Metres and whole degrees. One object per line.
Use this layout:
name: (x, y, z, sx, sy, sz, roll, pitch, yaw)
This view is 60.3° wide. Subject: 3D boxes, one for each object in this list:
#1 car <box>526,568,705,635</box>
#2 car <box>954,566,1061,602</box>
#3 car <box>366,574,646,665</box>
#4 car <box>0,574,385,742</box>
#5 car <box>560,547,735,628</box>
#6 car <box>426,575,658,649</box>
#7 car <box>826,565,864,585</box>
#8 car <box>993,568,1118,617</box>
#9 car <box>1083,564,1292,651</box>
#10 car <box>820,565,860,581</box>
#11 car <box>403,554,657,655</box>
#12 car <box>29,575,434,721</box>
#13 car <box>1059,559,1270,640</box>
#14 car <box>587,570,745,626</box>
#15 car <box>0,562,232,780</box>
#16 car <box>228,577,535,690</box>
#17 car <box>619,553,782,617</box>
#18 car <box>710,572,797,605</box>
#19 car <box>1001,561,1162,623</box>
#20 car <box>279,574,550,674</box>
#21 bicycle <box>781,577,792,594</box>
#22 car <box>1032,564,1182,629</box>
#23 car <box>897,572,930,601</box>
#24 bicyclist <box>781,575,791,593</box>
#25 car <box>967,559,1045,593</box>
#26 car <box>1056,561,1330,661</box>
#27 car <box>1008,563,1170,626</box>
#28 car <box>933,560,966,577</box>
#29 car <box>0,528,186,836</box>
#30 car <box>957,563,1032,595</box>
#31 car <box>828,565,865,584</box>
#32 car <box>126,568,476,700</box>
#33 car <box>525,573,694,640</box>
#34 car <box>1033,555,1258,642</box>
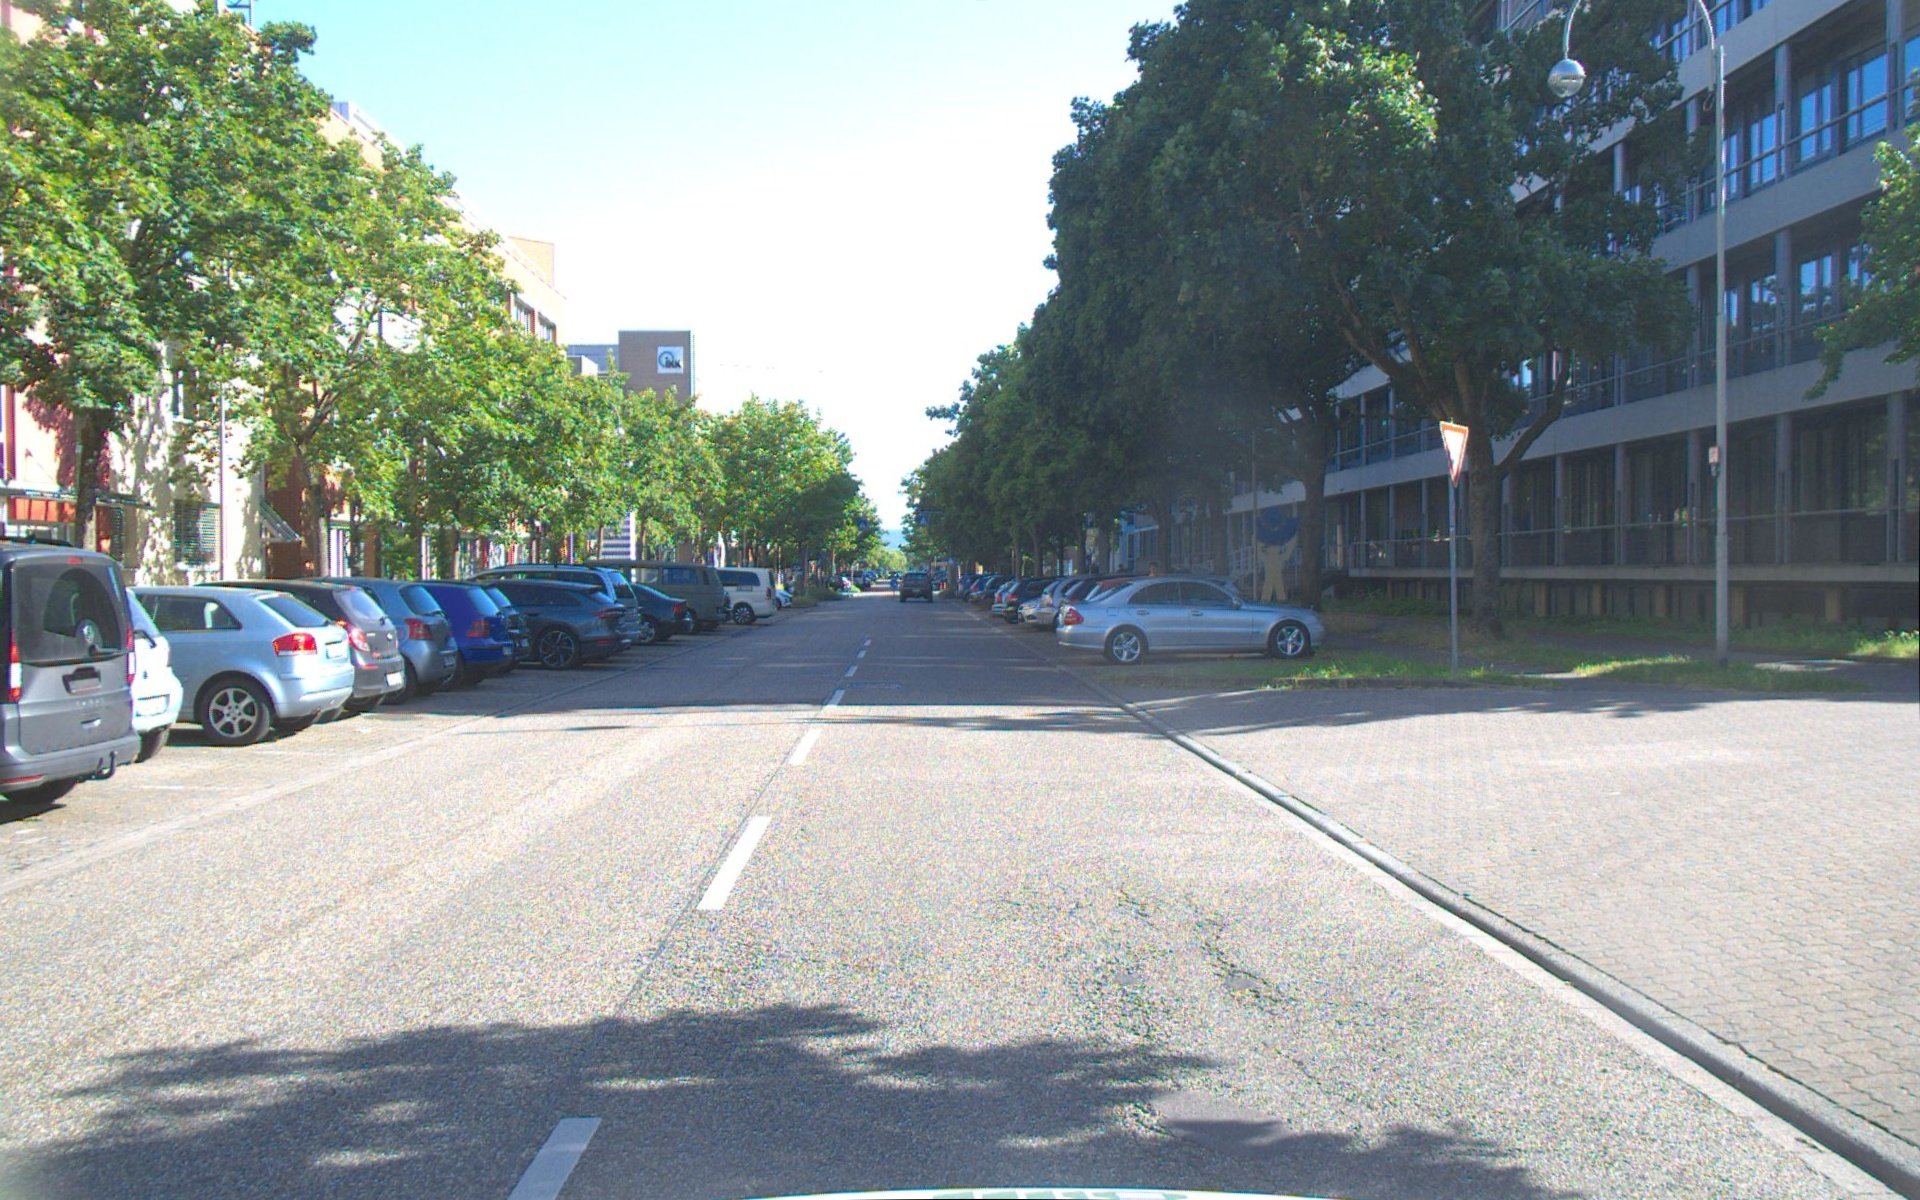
car: (-8.469, 0.015, 40.903, 4.049, 1.554, 1.725, 1, 1, -2)
car: (2.155, -0.734, 76.013, 4.730, 1.444, 2.031, -2, 1, -4)
car: (-7.696, 0.314, 28.354, 4.315, 1.452, 1.771, 1, 1, -4)
car: (-7.667, 0.520, 15.901, 3.654, 1.472, 1.874, 1, 1, -6)
car: (-8.559, -0.357, 45.613, 4.396, 2.126, 2.083, 1, 1, 0)
car: (-8.332, 0.227, 33.261, 4.234, 1.382, 1.756, 1, 1, -3)
car: (-12.499, -2.700, 180.208, 3.904, 2.049, 2.001, -1, 1, 2)
car: (3.101, -0.256, 54.147, 3.891, 1.444, 1.709, -2, 1, -4)
car: (4.308, 0.124, 31.817, 3.758, 1.472, 1.922, -2, 1, 2)
car: (-11.519, -2.595, 158.649, 3.776, 1.498, 1.809, 1, 1, -8)
car: (-7.981, 0.064, 31.003, 4.233, 1.747, 1.962, 1, 1, -2)
car: (-7.906, 0.497, 18.254, 3.654, 1.472, 1.858, 1, 1, -6)
car: (4.486, -0.027, 36.755, 4.423, 1.569, 1.922, -2, 1, 0)
car: (-8.553, -0.075, 48.301, 4.232, 1.503, 1.943, 1, 1, 0)
car: (-8.140, 0.495, 13.189, 3.813, 1.602, 1.859, 1, 1, -2)
car: (-7.991, 0.437, 23.124, 3.651, 1.452, 1.840, 1, 1, -3)
car: (-8.672, -0.506, 55.600, 5.152, 2.001, 1.942, 1, 1, -2)
car: (-9.717, -0.544, 78.036, 3.907, 1.512, 1.806, 0, 1, -3)
car: (3.537, -0.243, 48.734, 4.499, 1.519, 1.762, -3, 1, -2)
car: (-8.474, 0.357, 25.937, 3.651, 1.452, 1.772, 1, 1, -3)
bicycle: (-11.176, -0.928, 106.290, 0.521, 1.091, 1.300, -1, 1, 1)
car: (3.858, -0.112, 43.779, 3.671, 1.519, 1.615, -2, 1, -6)
car: (-2.832, -0.847, 101.073, 1.953, 1.668, 3.999, 1, 1, -2)
bicyclist: (-11.180, -1.016, 106.288, 0.521, 1.110, 0.794, -1, 1, 1)
car: (2.313, -1.222, 84.419, 3.869, 1.541, 1.812, -2, 1, -1)
car: (3.999, 0.171, 28.883, 4.485, 1.501, 1.746, -3, 1, -1)
car: (3.554, -0.169, 46.071, 4.202, 1.519, 2.002, -2, 1, -5)
car: (-1.312, -3.873, 202.790, 3.908, 2.049, 1.999, -1, 1, -4)
car: (-7.364, 0.446, 10.733, 3.813, 1.843, 1.785, 1, 1, -2)
car: (2.057, -1.275, 98.688, 4.266, 1.733, 1.811, -2, 1, -5)
car: (-12.575, -2.797, 183.074, 3.904, 2.049, 2.001, -1, 1, 2)
car: (-8.181, 0.399, 20.811, 3.651, 1.535, 1.859, 1, 1, -3)
car: (-8.033, 0.135, 38.141, 3.656, 1.452, 1.722, 1, 1, -8)
car: (3.753, -0.046, 34.105, 4.421, 1.569, 1.922, -2, 1, 2)
